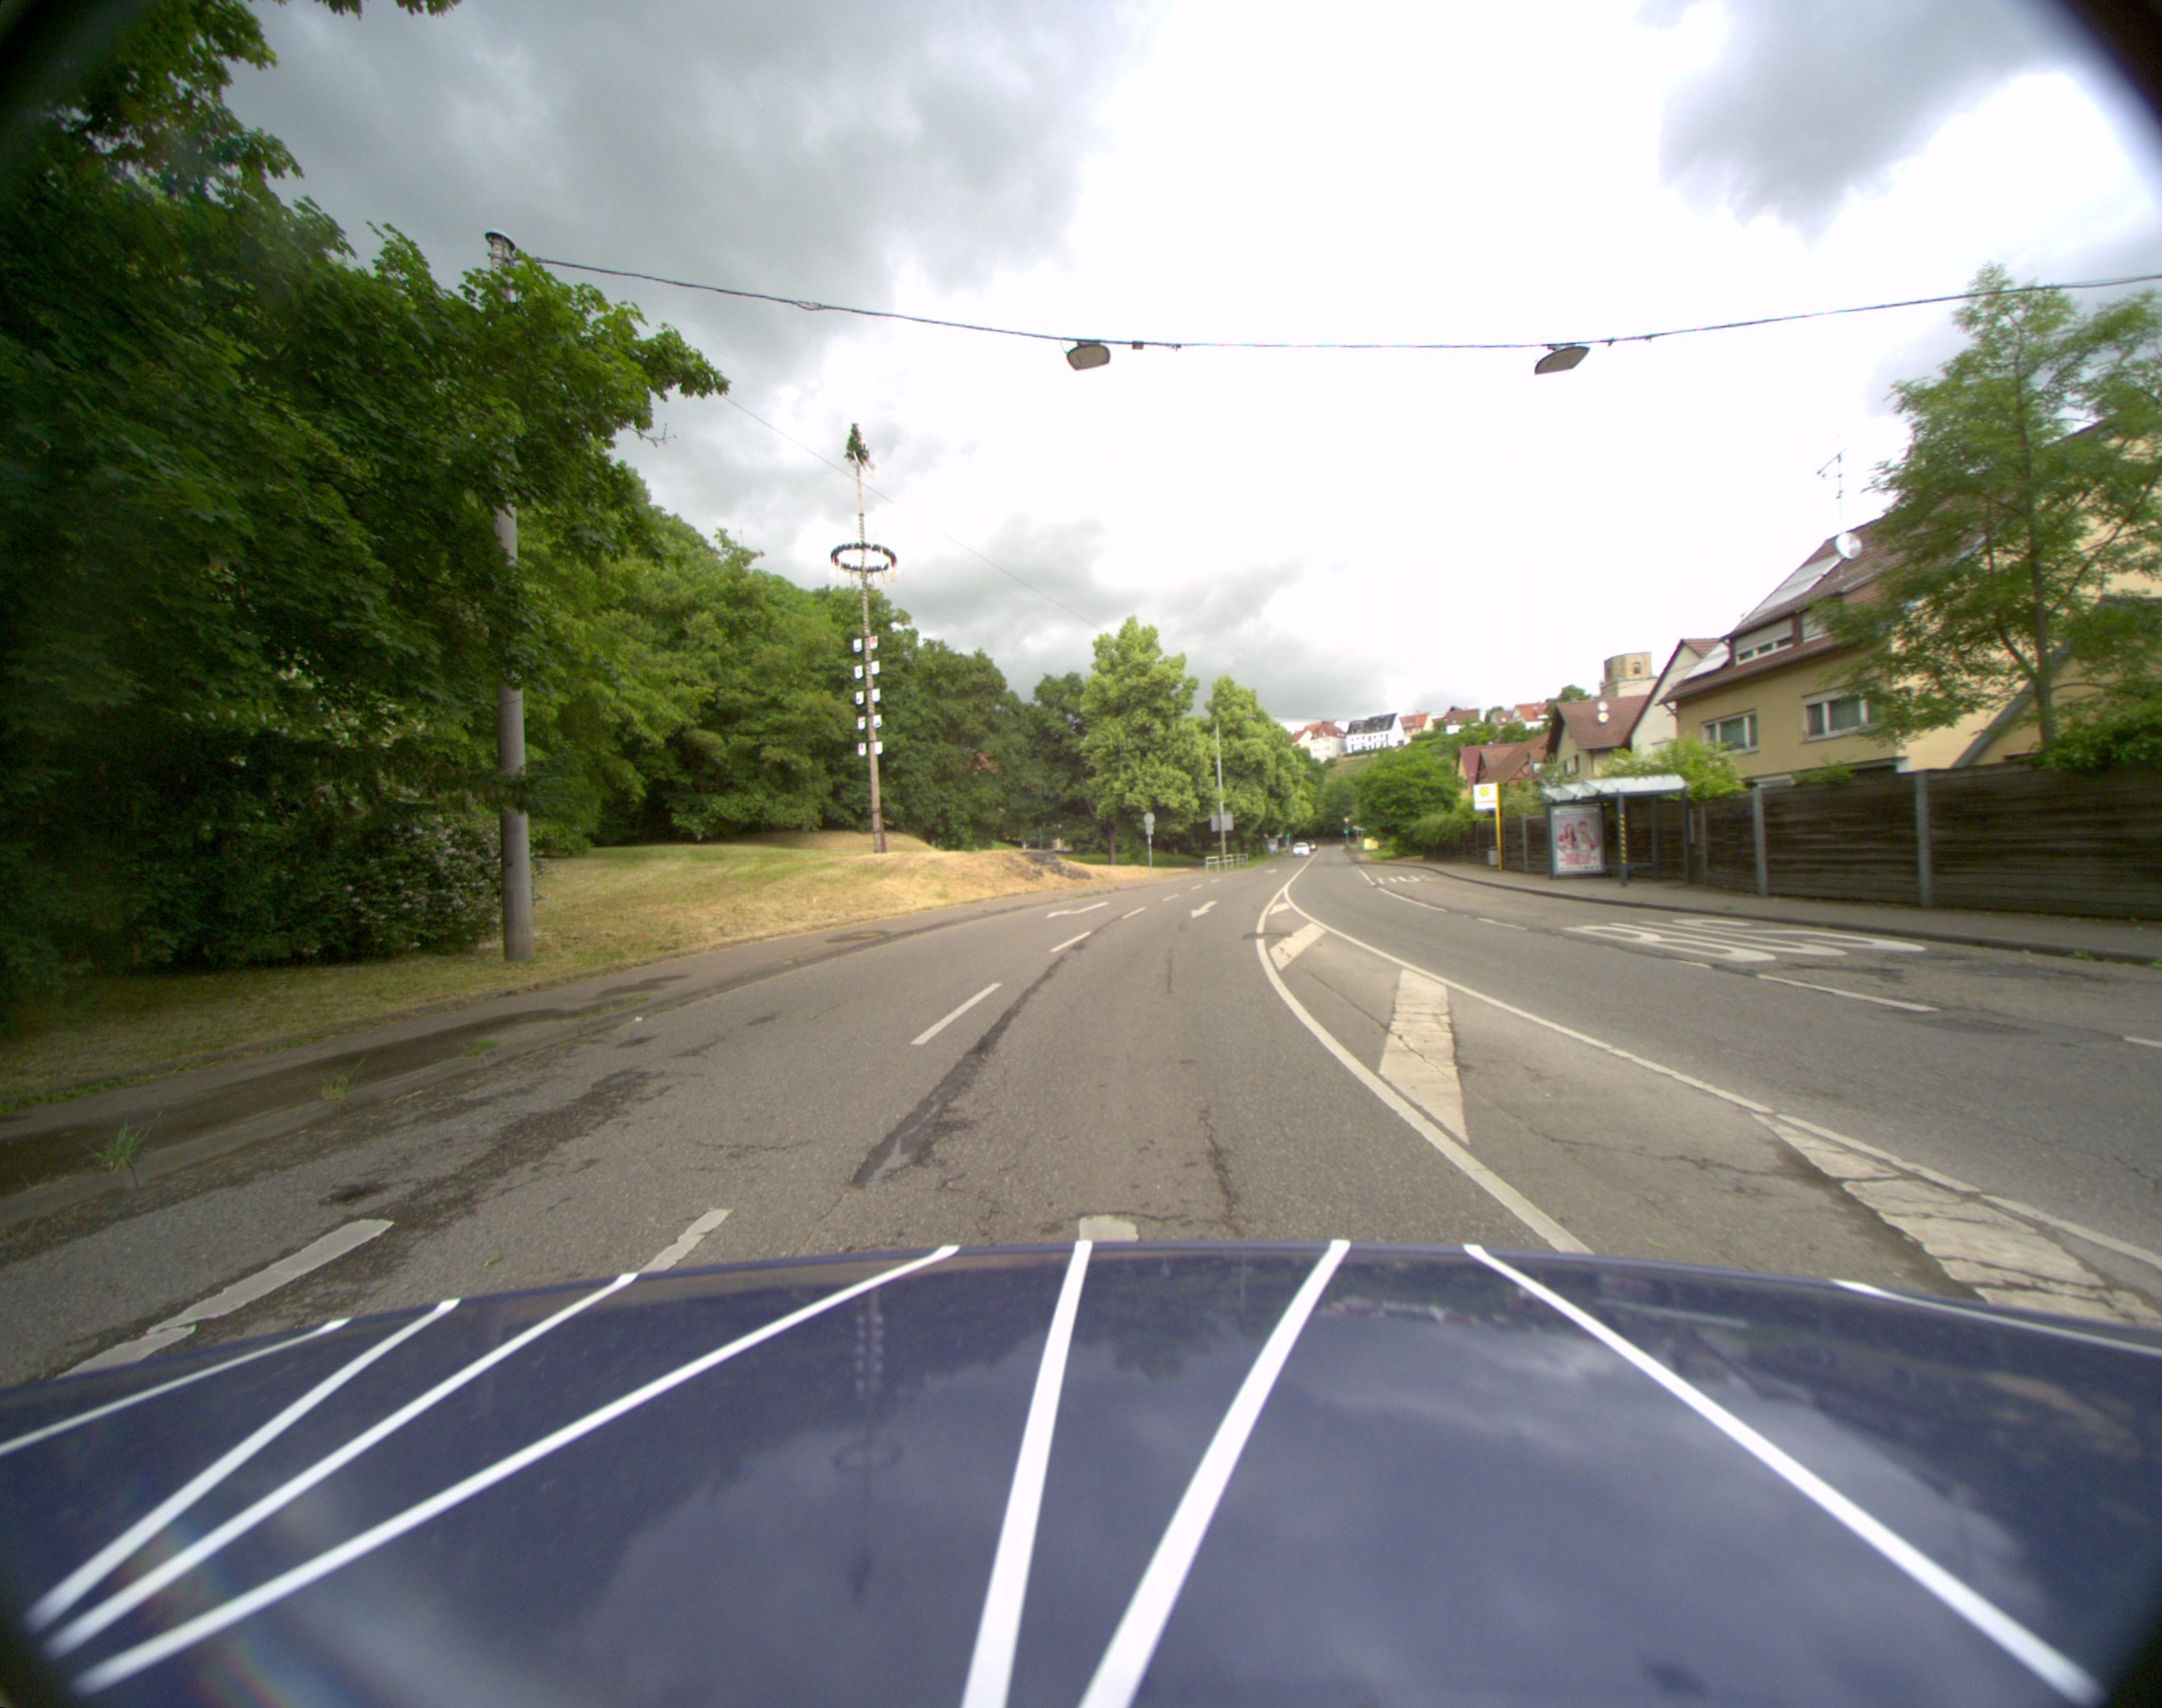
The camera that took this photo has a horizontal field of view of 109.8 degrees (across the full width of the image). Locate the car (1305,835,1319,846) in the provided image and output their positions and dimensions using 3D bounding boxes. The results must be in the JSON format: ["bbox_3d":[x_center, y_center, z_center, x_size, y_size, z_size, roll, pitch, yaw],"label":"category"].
[{"bbox_3d":[34.708,-2.067,114.209,1.761,1.575,3.688,-2,1,19],"label":"car"}]

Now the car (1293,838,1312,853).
[{"bbox_3d":[24.550,-0.948,84.095,1.761,1.516,3.688,-2,1,20],"label":"car"}]
